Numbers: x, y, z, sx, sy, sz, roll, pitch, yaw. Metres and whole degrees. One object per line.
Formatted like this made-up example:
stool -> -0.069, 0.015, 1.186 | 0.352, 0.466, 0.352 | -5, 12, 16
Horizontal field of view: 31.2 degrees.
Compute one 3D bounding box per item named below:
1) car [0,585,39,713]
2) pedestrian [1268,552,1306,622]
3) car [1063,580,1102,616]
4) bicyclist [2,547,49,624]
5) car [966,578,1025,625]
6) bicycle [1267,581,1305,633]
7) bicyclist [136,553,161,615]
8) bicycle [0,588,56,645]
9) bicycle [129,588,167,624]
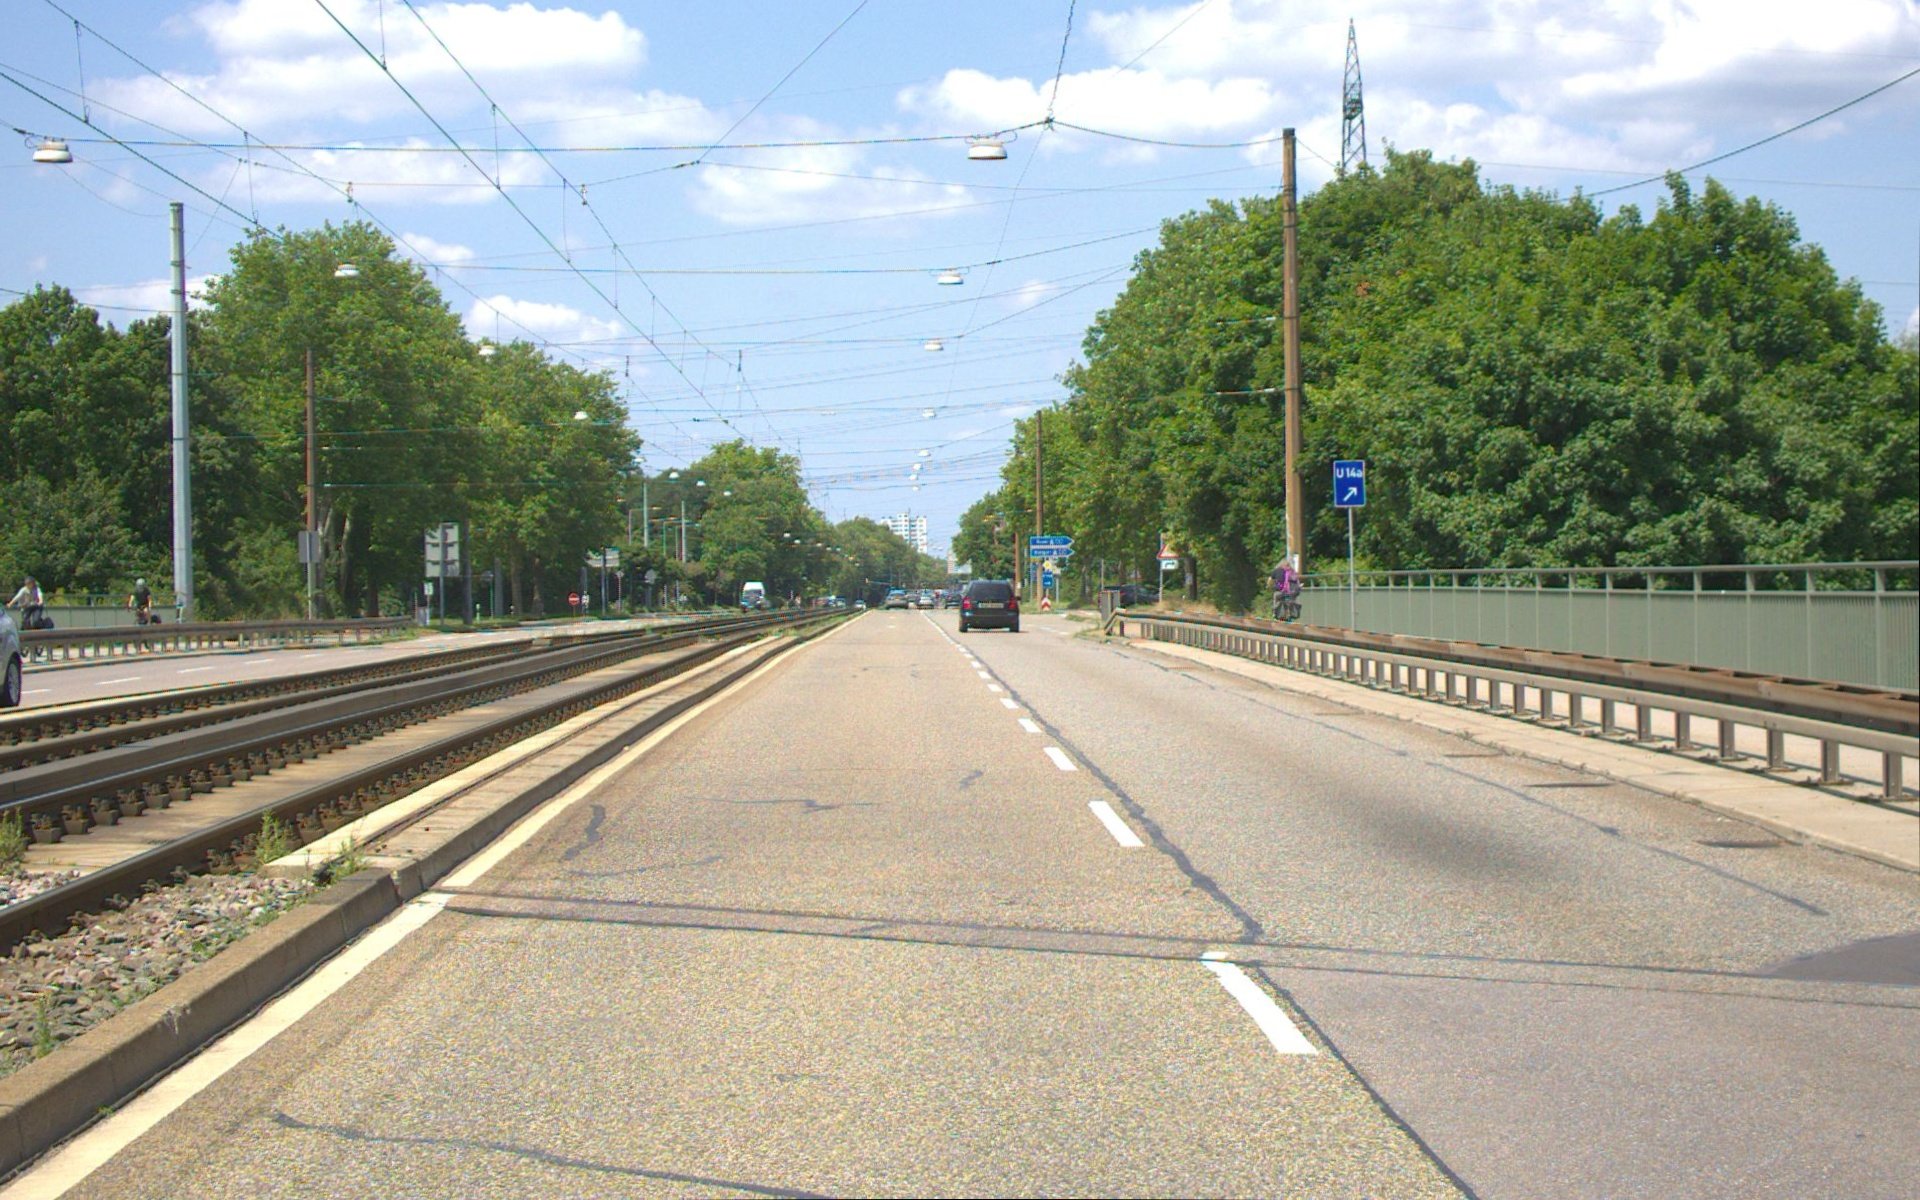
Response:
car -> -11.484, 0.572, 37.369 | 1.711, 1.415, 4.624 | -2, 0, -1
pedestrian -> 6.587, -0.260, 69.328 | 0.628, 1.369, 1.050 | -1, 0, -1
car -> 6.647, -0.117, 187.047 | 1.993, 1.963, 4.000 | 0, 0, 0
bicyclist -> -19.721, -0.312, 72.547 | 0.763, 1.616, 0.838 | 0, 0, -1
car -> 1.050, 0.035, 103.636 | 1.586, 1.338, 3.272 | -1, 1, -2
bicycle -> 6.560, 0.148, 69.251 | 0.559, 1.021, 1.848 | -1, 0, -1
bicyclist -> -19.713, -0.384, 83.514 | 0.520, 1.492, 0.530 | 0, 1, -3
bicycle -> -19.747, 0.346, 72.490 | 0.857, 1.181, 2.062 | 0, 0, -1
bicycle -> -19.706, 0.144, 83.459 | 0.522, 0.840, 2.036 | 1, 1, -3
